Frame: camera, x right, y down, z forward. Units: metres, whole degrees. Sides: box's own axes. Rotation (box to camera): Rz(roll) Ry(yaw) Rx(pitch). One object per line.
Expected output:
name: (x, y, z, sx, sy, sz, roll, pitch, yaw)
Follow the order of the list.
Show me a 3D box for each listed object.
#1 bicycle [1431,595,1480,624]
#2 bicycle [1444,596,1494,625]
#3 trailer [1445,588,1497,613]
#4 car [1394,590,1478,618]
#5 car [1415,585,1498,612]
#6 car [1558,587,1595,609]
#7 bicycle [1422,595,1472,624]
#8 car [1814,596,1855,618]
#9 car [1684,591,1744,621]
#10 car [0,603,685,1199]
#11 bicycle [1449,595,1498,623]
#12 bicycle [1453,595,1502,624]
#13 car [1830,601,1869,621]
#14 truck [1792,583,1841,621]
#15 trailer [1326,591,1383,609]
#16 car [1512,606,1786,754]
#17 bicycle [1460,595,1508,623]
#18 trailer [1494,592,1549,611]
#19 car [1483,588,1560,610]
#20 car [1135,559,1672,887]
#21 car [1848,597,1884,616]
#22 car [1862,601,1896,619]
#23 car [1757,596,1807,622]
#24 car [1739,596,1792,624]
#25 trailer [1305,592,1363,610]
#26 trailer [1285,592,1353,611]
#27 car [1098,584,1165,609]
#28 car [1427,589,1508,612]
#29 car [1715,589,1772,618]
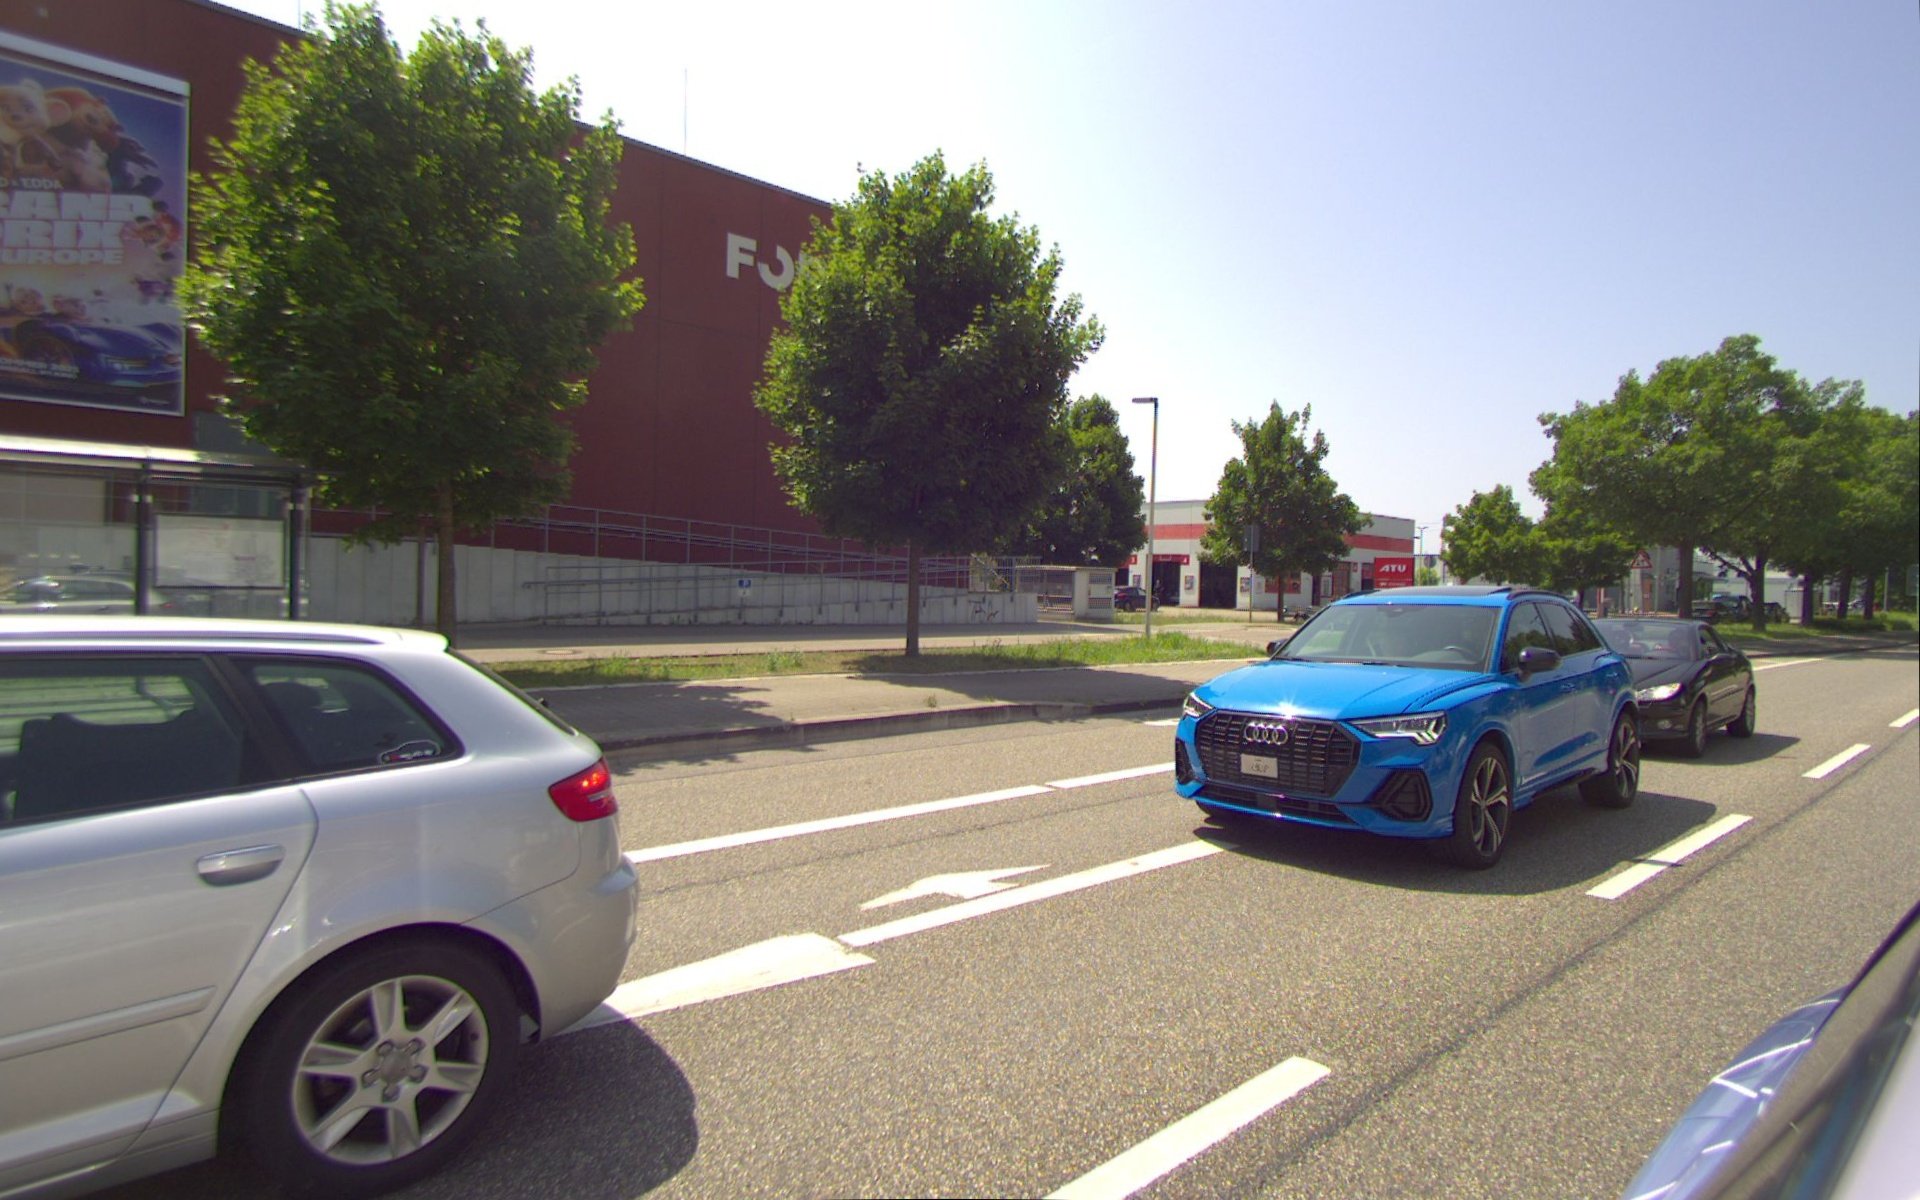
bicycle: (20.766, 0.383, 42.442, 1.779, 1.138, 0.506, 2, 1, 43)
bicycle: (21.488, 0.420, 42.724, 1.779, 1.138, 0.506, 2, 1, 43)
trailer: (32.829, 0.027, 65.089, 1.391, 1.546, 2.638, 1, 1, -43)
car: (26.961, 0.196, 57.397, 1.718, 1.419, 3.992, 1, 1, -43)
car: (28.754, -0.097, 58.679, 1.718, 1.419, 3.991, 1, 1, -44)
car: (47.959, -0.187, 78.693, 1.753, 1.616, 3.939, 2, 1, 42)
bicycle: (20.252, 0.395, 42.096, 1.779, 1.138, 0.506, 2, 1, 43)
car: (64.337, 0.525, 74.429, 3.930, 1.485, 1.719, 1, 1, -41)
car: (38.448, 0.303, 51.585, 3.930, 1.388, 1.641, 1, 1, -41)
car: (-2.856, 0.698, 2.249, 4.022, 1.379, 1.714, 0, 0, -43)
bicycle: (21.898, 0.381, 43.214, 1.779, 1.138, 0.506, 2, 1, 43)
bicycle: (22.365, 0.402, 43.754, 1.779, 1.138, 0.506, 2, 1, 43)
car: (69.302, 0.872, 78.837, 3.930, 1.485, 1.719, 1, 1, -41)
truck: (59.919, 0.138, 70.785, 3.928, 2.599, 1.904, 1, 1, -40)
trailer: (18.623, 0.006, 47.827, 1.368, 0.771, 2.137, 1, 1, -39)
car: (7.773, 0.759, 11.275, 3.931, 1.361, 1.640, 1, -1, -42)
bicycle: (22.952, 0.395, 44.324, 1.779, 1.138, 0.506, 2, 1, 43)
trailer: (34.860, 0.085, 62.902, 1.551, 1.065, 2.638, 1, 1, -43)
car: (35.985, -0.073, 64.904, 1.661, 1.317, 3.991, 1, 2, -44)
car: (3.321, 0.593, 7.124, 4.324, 1.616, 1.840, 0, 1, -42)
car: (74.911, 0.525, 83.634, 3.930, 1.485, 1.719, 1, 1, -41)
car: (79.613, 0.838, 87.692, 3.930, 1.485, 1.719, 1, 1, -41)
car: (51.294, 0.544, 63.126, 3.930, 1.532, 1.719, 1, 1, -41)
car: (46.915, 0.557, 58.912, 3.930, 1.539, 1.719, 1, 1, -41)
trailer: (17.239, 0.028, 46.668, 1.244, 0.771, 2.137, 1, 1, -39)
trailer: (16.024, 0.047, 45.207, 1.423, 0.771, 2.467, 1, 1, -39)
car: (10.074, -0.192, 59.268, 4.074, 1.390, 1.716, 0, 2, -42)
car: (30.276, 0.019, 60.477, 1.718, 1.223, 3.991, 1, 2, -44)
car: (43.074, 0.177, 55.594, 3.930, 1.485, 1.719, 1, 1, -41)
